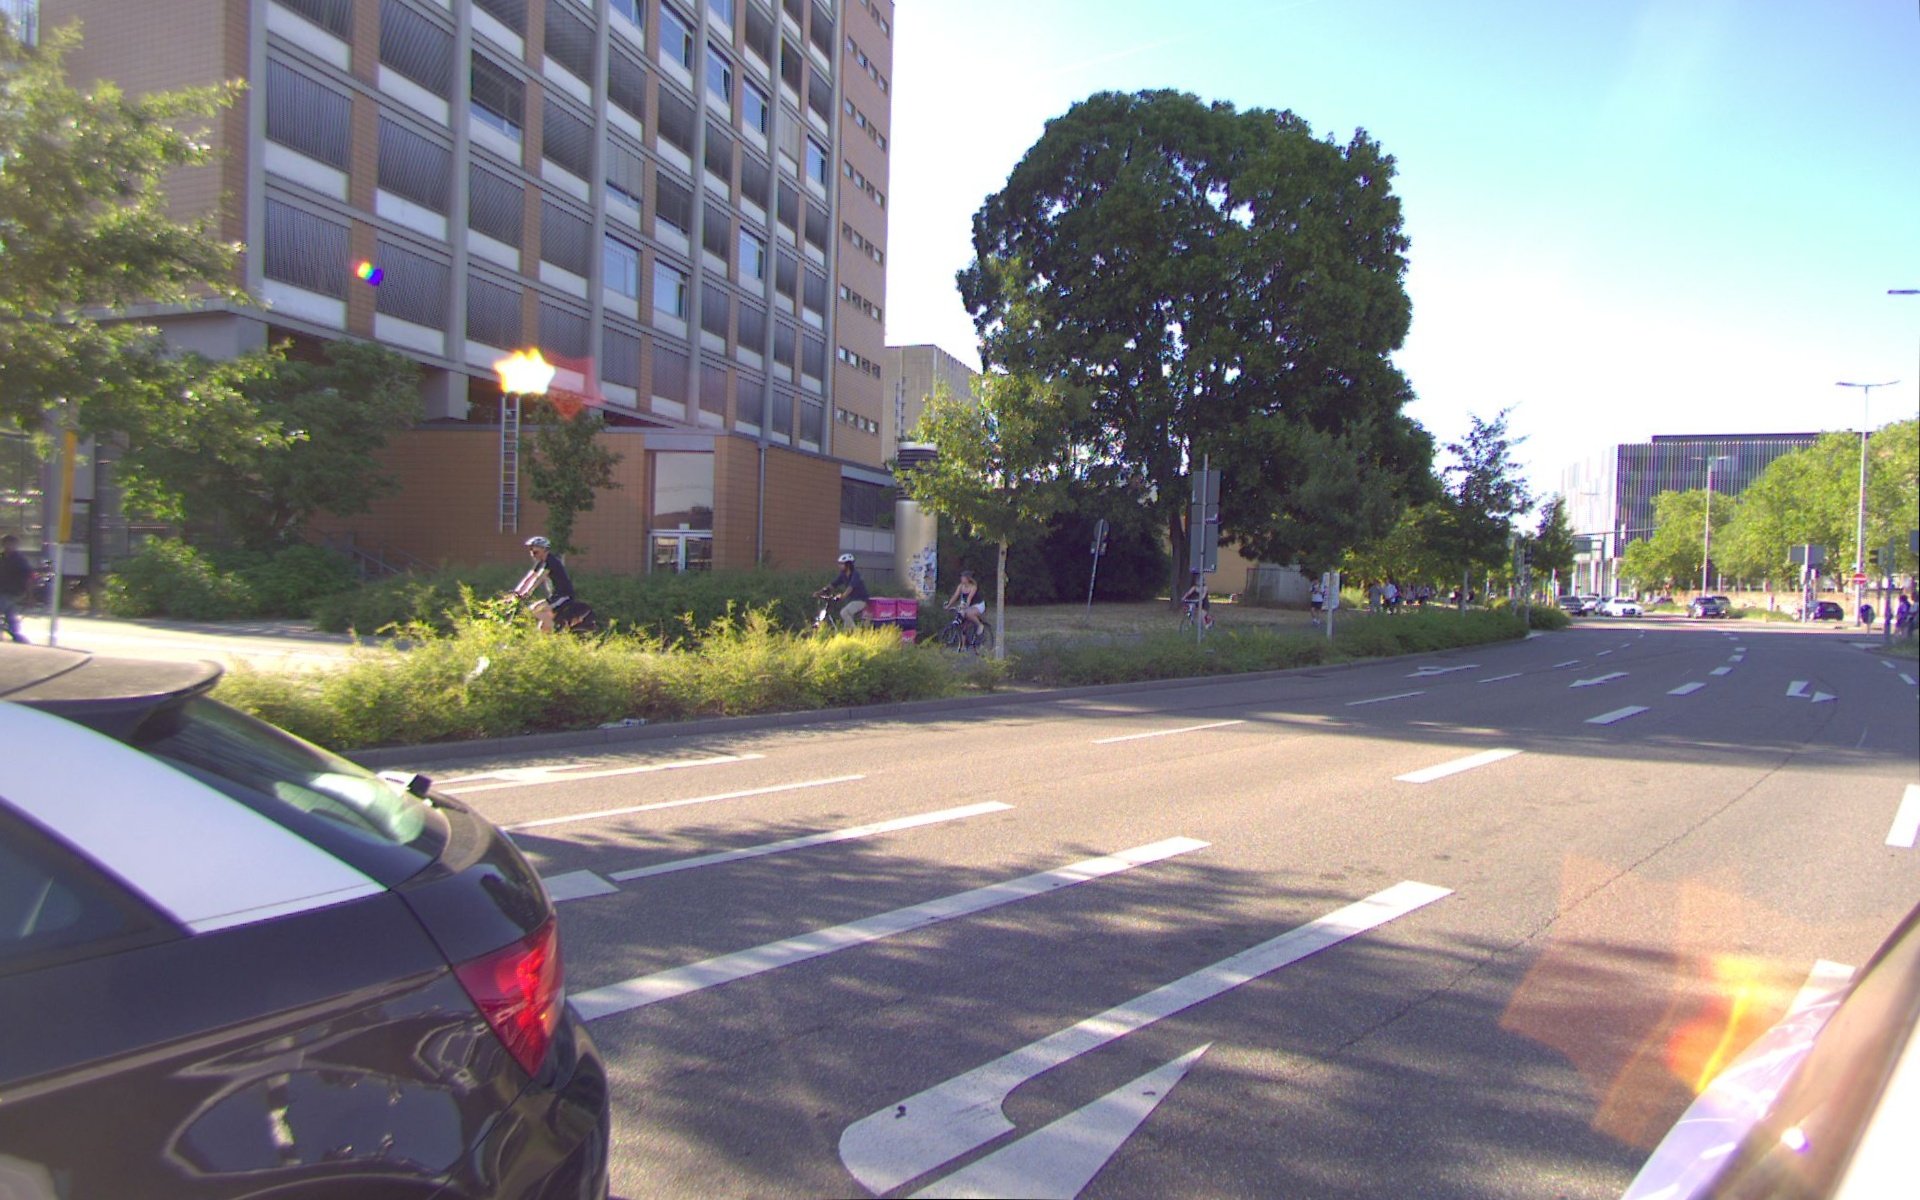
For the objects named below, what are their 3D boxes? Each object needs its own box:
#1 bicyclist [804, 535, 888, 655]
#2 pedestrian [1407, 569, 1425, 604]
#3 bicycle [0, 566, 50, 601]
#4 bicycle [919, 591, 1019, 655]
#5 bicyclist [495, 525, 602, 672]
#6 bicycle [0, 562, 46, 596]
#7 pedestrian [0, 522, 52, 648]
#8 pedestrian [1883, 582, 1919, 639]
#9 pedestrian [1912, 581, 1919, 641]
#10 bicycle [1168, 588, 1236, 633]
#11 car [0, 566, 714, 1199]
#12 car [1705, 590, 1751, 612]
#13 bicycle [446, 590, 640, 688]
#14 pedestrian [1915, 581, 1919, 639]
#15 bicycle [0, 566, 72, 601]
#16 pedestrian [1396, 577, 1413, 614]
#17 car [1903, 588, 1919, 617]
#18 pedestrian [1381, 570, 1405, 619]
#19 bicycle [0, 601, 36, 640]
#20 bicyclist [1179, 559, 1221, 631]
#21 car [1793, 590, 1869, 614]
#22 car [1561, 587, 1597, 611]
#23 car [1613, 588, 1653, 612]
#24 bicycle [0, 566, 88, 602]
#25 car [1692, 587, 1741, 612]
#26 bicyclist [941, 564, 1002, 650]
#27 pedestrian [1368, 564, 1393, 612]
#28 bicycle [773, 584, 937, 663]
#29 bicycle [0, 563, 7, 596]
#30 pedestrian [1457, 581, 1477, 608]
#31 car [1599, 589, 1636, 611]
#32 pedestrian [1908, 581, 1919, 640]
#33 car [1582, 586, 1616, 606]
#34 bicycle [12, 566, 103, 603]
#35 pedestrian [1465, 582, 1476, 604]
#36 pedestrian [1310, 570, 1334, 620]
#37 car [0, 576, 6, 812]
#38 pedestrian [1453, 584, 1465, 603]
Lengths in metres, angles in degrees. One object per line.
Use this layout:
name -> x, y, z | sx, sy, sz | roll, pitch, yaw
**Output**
bicyclist -> -1.840, -0.089, 16.295 | 1.071, 1.856, 0.781 | 1, 1, -30
pedestrian -> 23.084, -0.670, 51.205 | 0.667, 1.725, 0.872 | 2, 1, 18
bicycle -> -24.045, -0.428, 25.495 | 0.522, 0.868, 1.644 | 2, 2, 19
bicycle -> 0.181, 0.431, 18.903 | 1.836, 1.135, 0.718 | 2, -1, -41
bicyclist -> -5.444, -0.033, 13.407 | 0.778, 1.853, 1.076 | 3, 2, 43
bicycle -> -24.838, -0.540, 26.240 | 0.522, 0.868, 1.644 | 2, 2, 19
pedestrian -> -13.103, -0.194, 13.849 | 0.774, 1.680, 0.810 | 0, -1, -24
pedestrian -> 29.931, 0.309, 32.070 | 0.923, 1.762, 0.746 | 2, 1, 39
pedestrian -> 28.601, 0.333, 29.649 | 0.923, 1.762, 0.746 | 2, 1, 39
bicycle -> 6.300, 0.251, 26.268 | 2.032, 1.135, 0.718 | -1, 0, -43
car -> -2.440, 0.687, 0.996 | 3.911, 1.462, 1.803 | 0, 0, -43
car -> 66.697, 0.045, 87.930 | 2.172, 1.705, 4.569 | 2, 2, 24
bicycle -> -5.474, 0.466, 13.402 | 0.778, 1.170, 2.255 | 3, 2, 43
pedestrian -> 29.742, 0.312, 30.775 | 0.923, 1.762, 0.776 | 2, 1, 39
bicycle -> -23.419, -0.419, 25.423 | 0.522, 0.868, 1.644 | 2, 2, 19
pedestrian -> 19.873, -0.206, 45.243 | 0.616, 1.594, 0.634 | 2, 1, 24
car -> 55.018, 0.158, 55.664 | 2.157, 1.606, 4.600 | 2, 0, 5
pedestrian -> 16.948, -0.202, 39.607 | 0.609, 1.892, 0.578 | 1, 1, -15
bicycle -> -14.565, 0.309, 14.906 | 0.428, 0.546, 1.340 | 4, 2, 35
bicyclist -> 6.211, -0.127, 26.186 | 0.835, 1.810, 0.716 | 0, 0, -43
car -> 61.985, 0.155, 72.141 | 2.162, 1.606, 4.587 | 2, 0, 13
car -> 43.792, -0.104, 71.680 | 1.786, 1.538, 3.964 | 2, 2, 26
car -> 47.416, -0.054, 71.373 | 1.786, 1.538, 4.391 | 2, 2, 26
bicycle -> -22.867, -0.401, 25.264 | 0.522, 0.868, 1.644 | 2, 2, 19
car -> 51.562, -0.051, 69.032 | 1.907, 1.538, 3.981 | 2, 2, 26
bicyclist -> 0.216, 0.128, 18.933 | 0.834, 1.568, 0.716 | 3, -1, -41
pedestrian -> 16.627, -0.477, 40.006 | 0.609, 1.892, 0.578 | 1, 1, -15
bicycle -> -1.678, 0.363, 16.416 | 2.529, 1.170, 0.781 | 1, 2, -30
bicycle -> -26.162, -0.538, 26.553 | 0.522, 0.868, 1.644 | 2, 2, 19
pedestrian -> 34.222, -0.396, 68.291 | 1.005, 1.771, 0.845 | 2, 1, 18
car -> 50.587, -0.034, 77.923 | 1.907, 1.538, 3.981 | 2, 2, 26
pedestrian -> 29.070, 0.322, 30.274 | 0.923, 1.762, 0.746 | 2, 1, 39
car -> 53.081, -0.337, 84.086 | 1.907, 1.538, 3.981 | 2, 2, 26
bicycle -> -22.344, -0.396, 25.078 | 0.522, 0.868, 1.644 | 2, 2, 19
pedestrian -> 41.095, -0.533, 81.529 | 0.705, 1.734, 0.728 | 2, 1, 24
pedestrian -> 12.724, -0.188, 35.535 | 0.618, 1.720, 0.623 | 2, 1, 32
car -> -7.049, 0.594, 4.507 | 3.906, 1.462, 1.805 | 0, 0, -38
pedestrian -> 42.386, -0.573, 85.988 | 0.753, 1.562, 0.842 | 2, 1, 18
